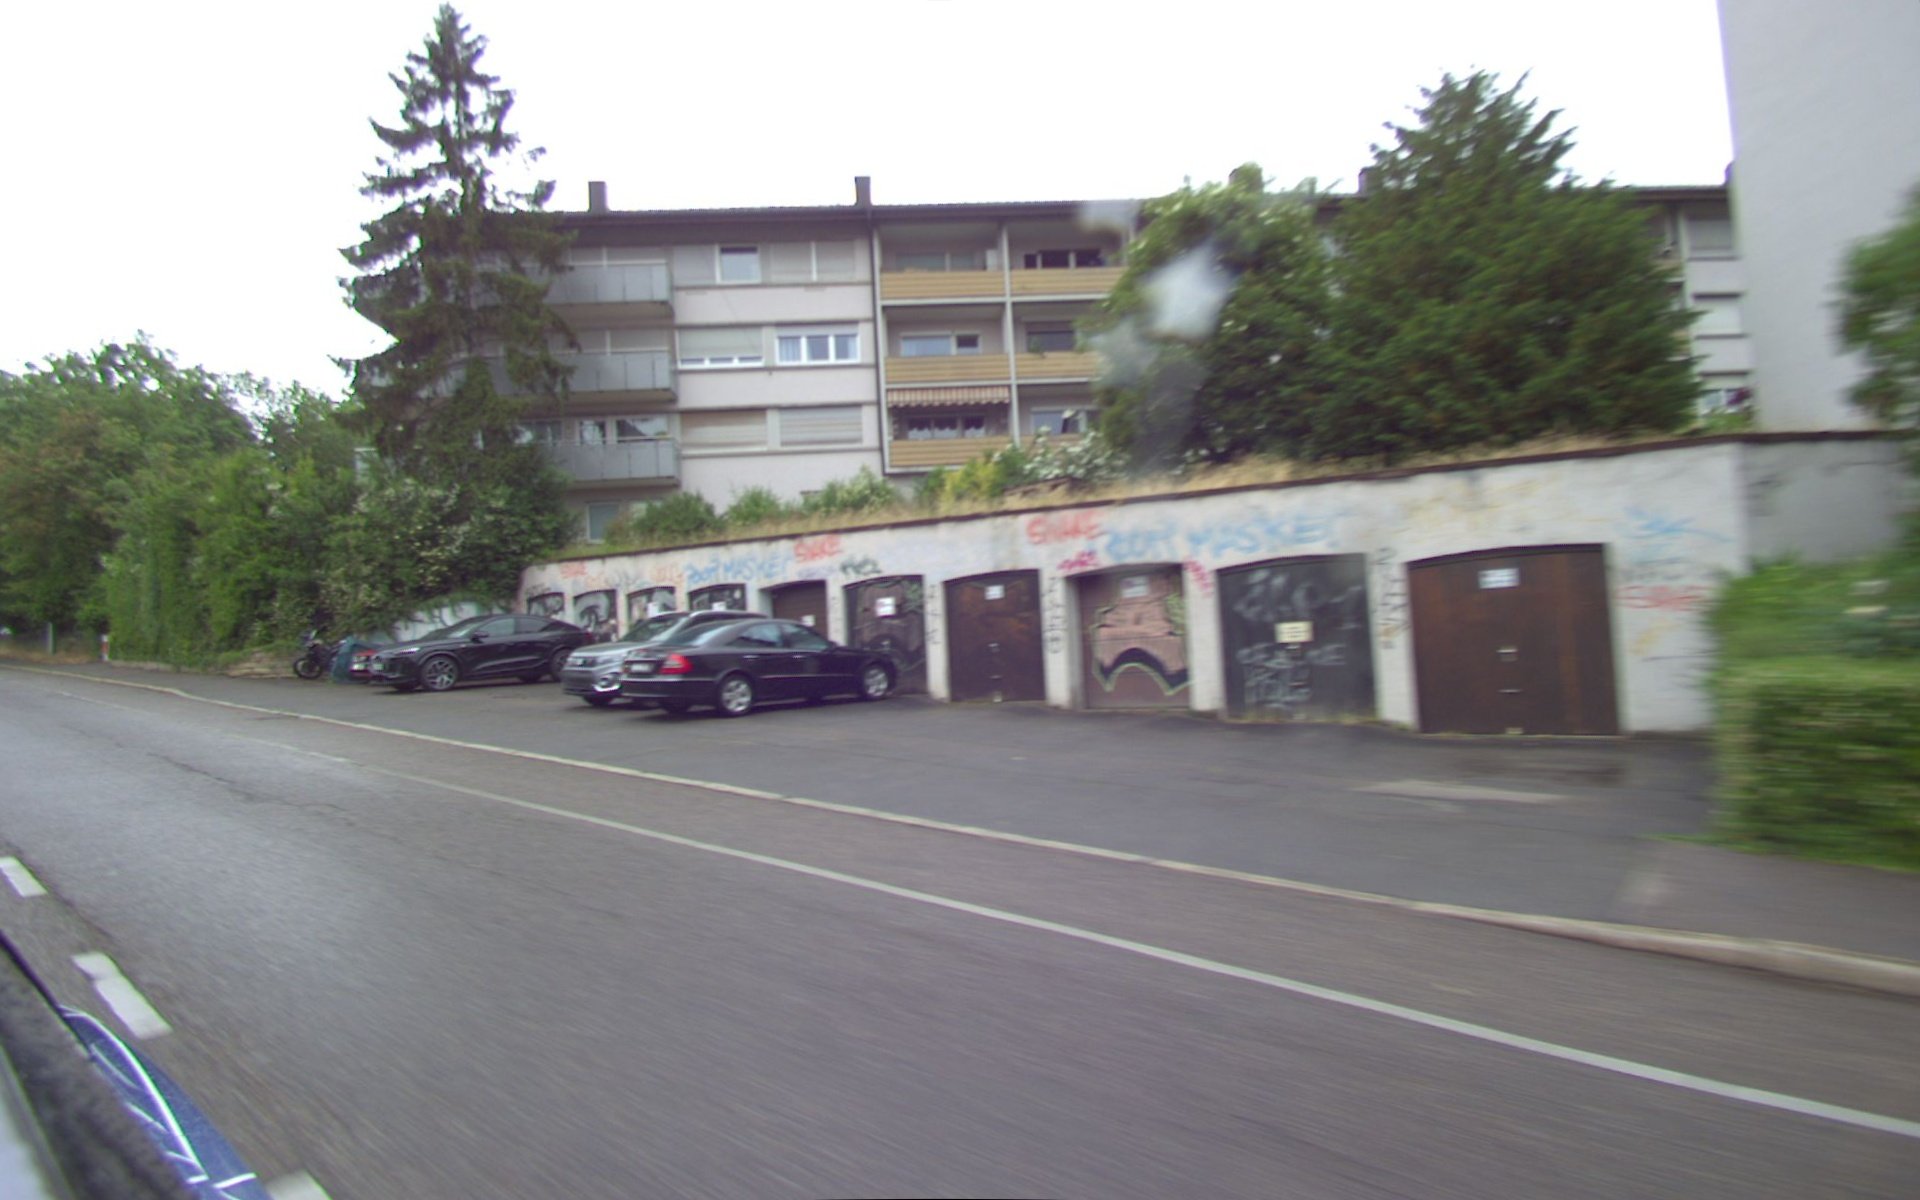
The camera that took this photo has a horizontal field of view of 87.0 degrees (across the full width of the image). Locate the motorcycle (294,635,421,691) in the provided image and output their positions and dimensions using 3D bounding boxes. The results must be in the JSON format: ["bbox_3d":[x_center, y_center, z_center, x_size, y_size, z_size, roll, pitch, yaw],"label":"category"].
[{"bbox_3d":[-15.612,1.601,26.228,2.764,1.282,1.282,0,-1,-34],"label":"motorcycle"}]

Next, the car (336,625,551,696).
[{"bbox_3d":[-12.567,1.411,24.832,1.774,1.539,4.382,-2,-2,41],"label":"car"}]

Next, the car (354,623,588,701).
[{"bbox_3d":[-10.802,1.312,22.620,1.774,1.539,4.382,-2,-2,41],"label":"car"}]

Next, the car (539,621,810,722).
[{"bbox_3d":[-4.864,1.151,17.791,1.773,1.539,4.385,-2,-2,39],"label":"car"}]

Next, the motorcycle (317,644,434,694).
[{"bbox_3d":[-14.378,1.668,24.955,2.425,1.117,0.661,1,-2,-42],"label":"motorcycle"}]

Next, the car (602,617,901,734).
[{"bbox_3d":[-3.171,1.075,16.119,1.847,1.501,4.438,-1,0,42],"label":"car"}]
